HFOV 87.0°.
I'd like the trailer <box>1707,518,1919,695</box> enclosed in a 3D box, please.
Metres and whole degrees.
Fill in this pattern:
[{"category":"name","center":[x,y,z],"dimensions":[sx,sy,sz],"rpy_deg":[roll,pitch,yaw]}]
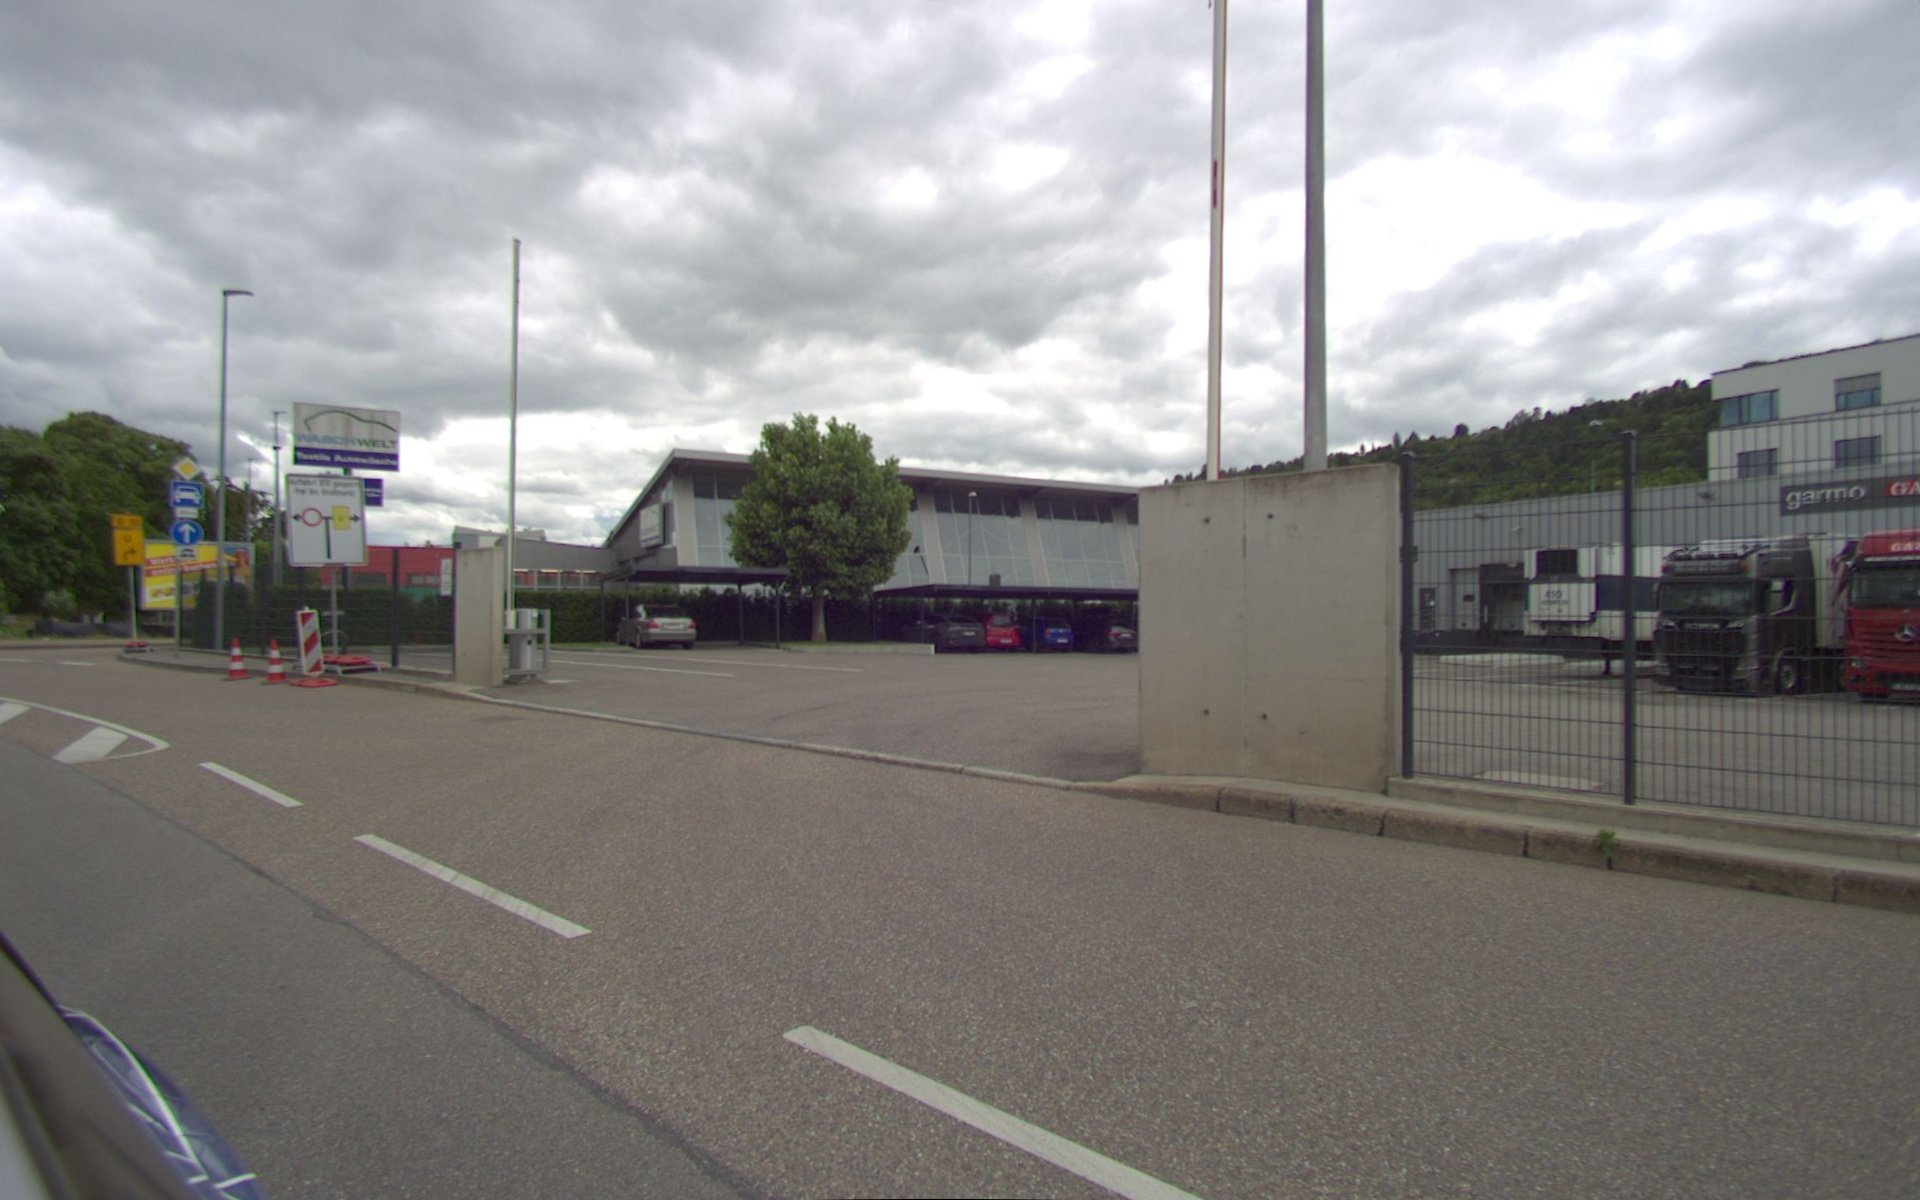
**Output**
[{"category":"trailer","center":[25.731,0.241,28.597],"dimensions":[10.988,4.334,2.801],"rpy_deg":[1,-1,-27]}]

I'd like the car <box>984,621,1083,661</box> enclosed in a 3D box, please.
[{"category":"car","center":[2.976,1.663,41.792],"dimensions":[1.934,1.571,4.259],"rpy_deg":[1,-2,-33]}]

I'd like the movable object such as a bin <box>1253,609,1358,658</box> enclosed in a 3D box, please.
[{"category":"movable object such as a bin","center":[16.815,1.620,49.479],"dimensions":[2.046,2.243,4.613],"rpy_deg":[1,-2,-33]}]

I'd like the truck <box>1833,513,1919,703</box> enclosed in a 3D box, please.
[{"category":"truck","center":[22.615,0.195,22.485],"dimensions":[5.822,3.958,2.811],"rpy_deg":[1,-1,-27]}]

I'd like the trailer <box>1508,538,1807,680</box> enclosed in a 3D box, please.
[{"category":"trailer","center":[23.064,0.340,33.200],"dimensions":[11.212,4.109,3.101],"rpy_deg":[1,-1,-27]}]

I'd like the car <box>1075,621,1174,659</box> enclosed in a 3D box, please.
[{"category":"car","center":[7.153,1.725,44.345],"dimensions":[1.934,1.571,4.259],"rpy_deg":[1,-2,-33]}]

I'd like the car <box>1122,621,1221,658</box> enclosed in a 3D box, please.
[{"category":"car","center":[9.426,1.725,45.418],"dimensions":[1.934,1.571,4.259],"rpy_deg":[1,-2,-33]}]

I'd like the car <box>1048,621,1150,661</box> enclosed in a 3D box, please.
[{"category":"car","center":[5.714,1.674,42.081],"dimensions":[1.934,1.571,4.259],"rpy_deg":[1,-2,-33]}]

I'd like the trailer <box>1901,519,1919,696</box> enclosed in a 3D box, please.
[{"category":"trailer","center":[27.568,0.219,24.989],"dimensions":[10.805,4.109,2.801],"rpy_deg":[1,-1,-27]}]

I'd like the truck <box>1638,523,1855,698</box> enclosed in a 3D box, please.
[{"category":"truck","center":[19.865,0.284,25.616],"dimensions":[4.093,4.071,2.811],"rpy_deg":[1,-1,-27]}]

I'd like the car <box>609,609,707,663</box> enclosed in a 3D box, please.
[{"category":"car","center":[-10.148,1.175,33.821],"dimensions":[2.039,1.682,4.259],"rpy_deg":[1,-2,-33]}]

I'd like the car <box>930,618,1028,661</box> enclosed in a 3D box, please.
[{"category":"car","center":[0.712,1.551,40.782],"dimensions":[1.934,1.660,4.259],"rpy_deg":[1,-2,-33]}]

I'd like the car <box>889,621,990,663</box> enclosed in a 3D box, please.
[{"category":"car","center":[-0.846,1.561,38.811],"dimensions":[1.934,1.503,4.259],"rpy_deg":[1,-2,-33]}]
